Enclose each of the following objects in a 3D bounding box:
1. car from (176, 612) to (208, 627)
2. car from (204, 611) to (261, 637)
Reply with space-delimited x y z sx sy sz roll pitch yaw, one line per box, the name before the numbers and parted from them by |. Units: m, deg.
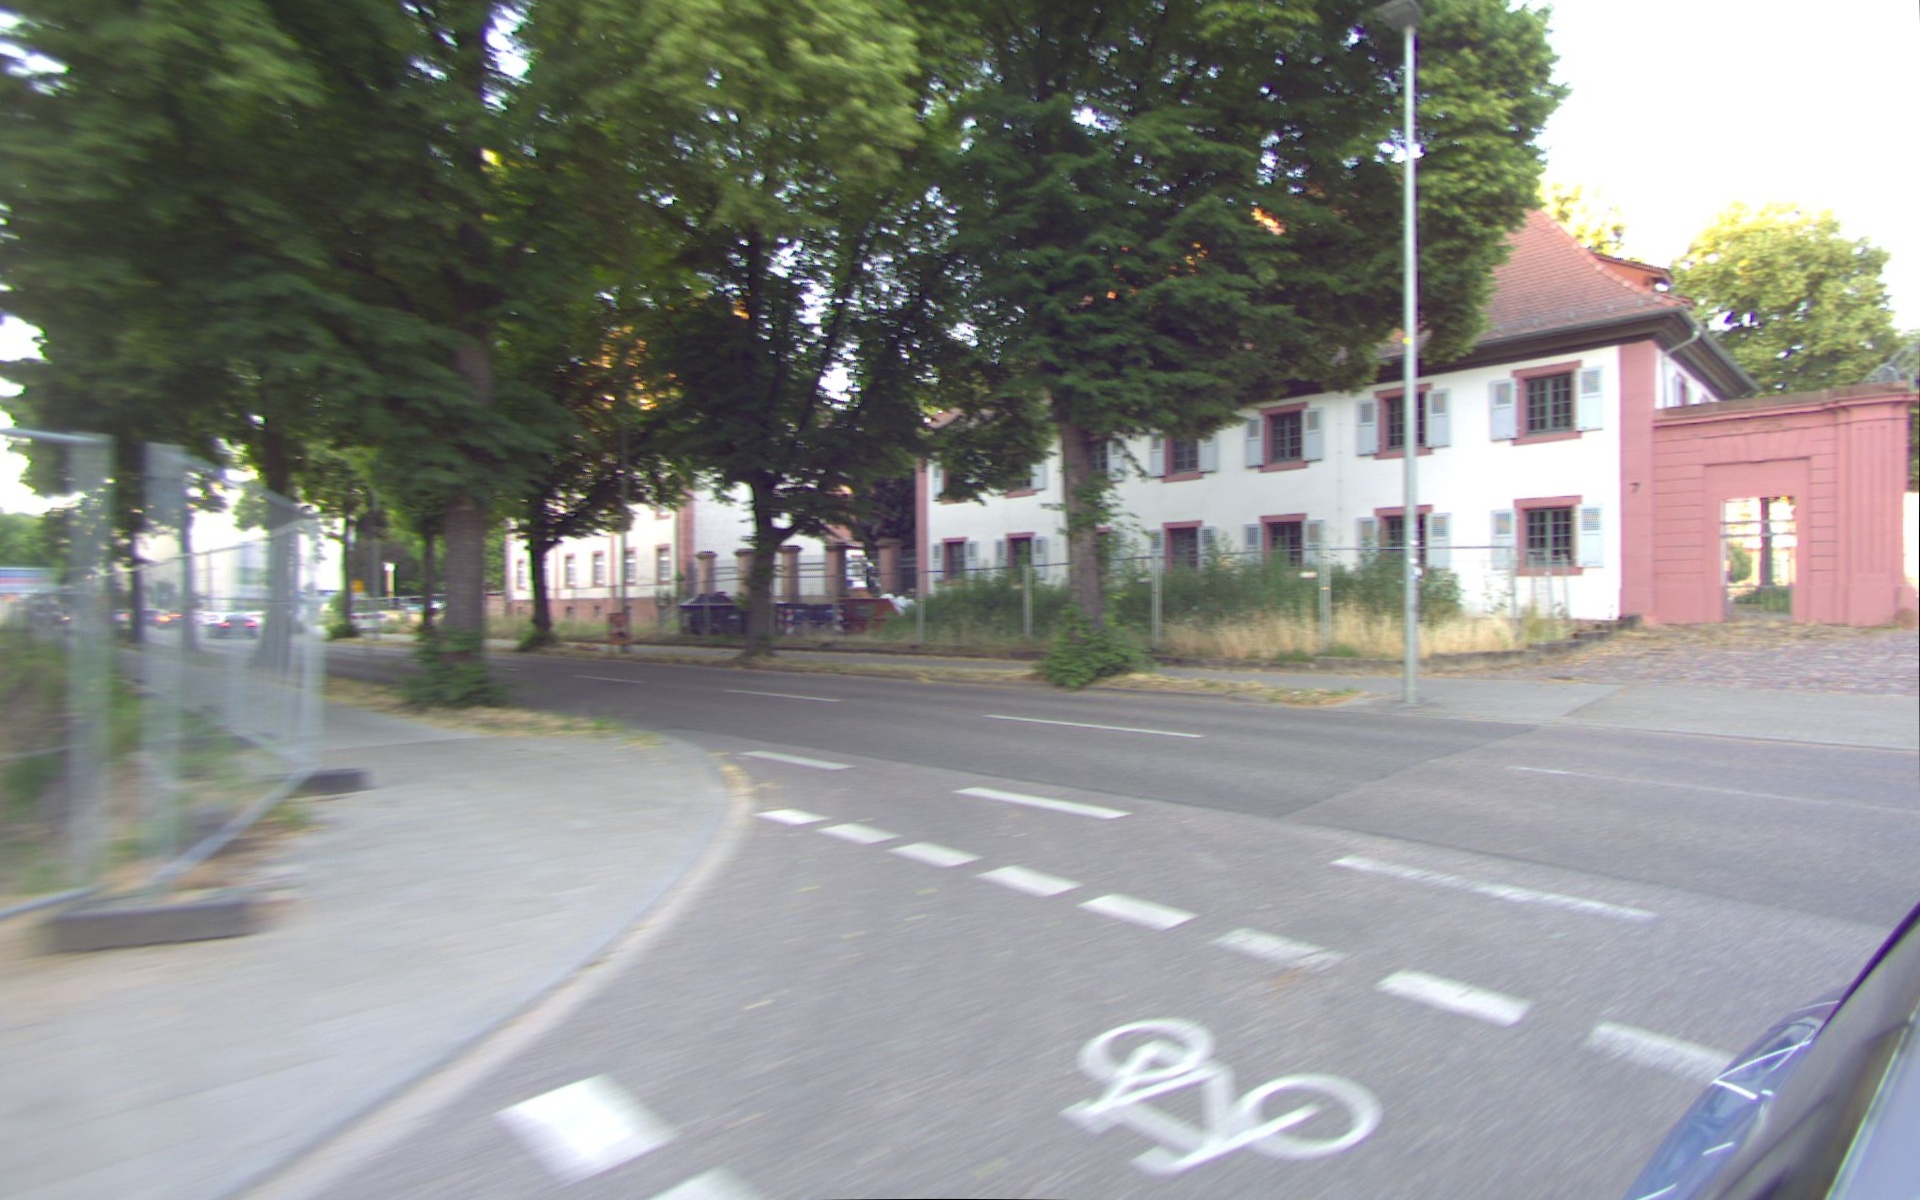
car | -69.677 1.755 91.781 1.920 1.343 3.991 2 -1 -43
car | -40.424 1.292 56.211 1.921 1.343 3.988 2 -1 -45
